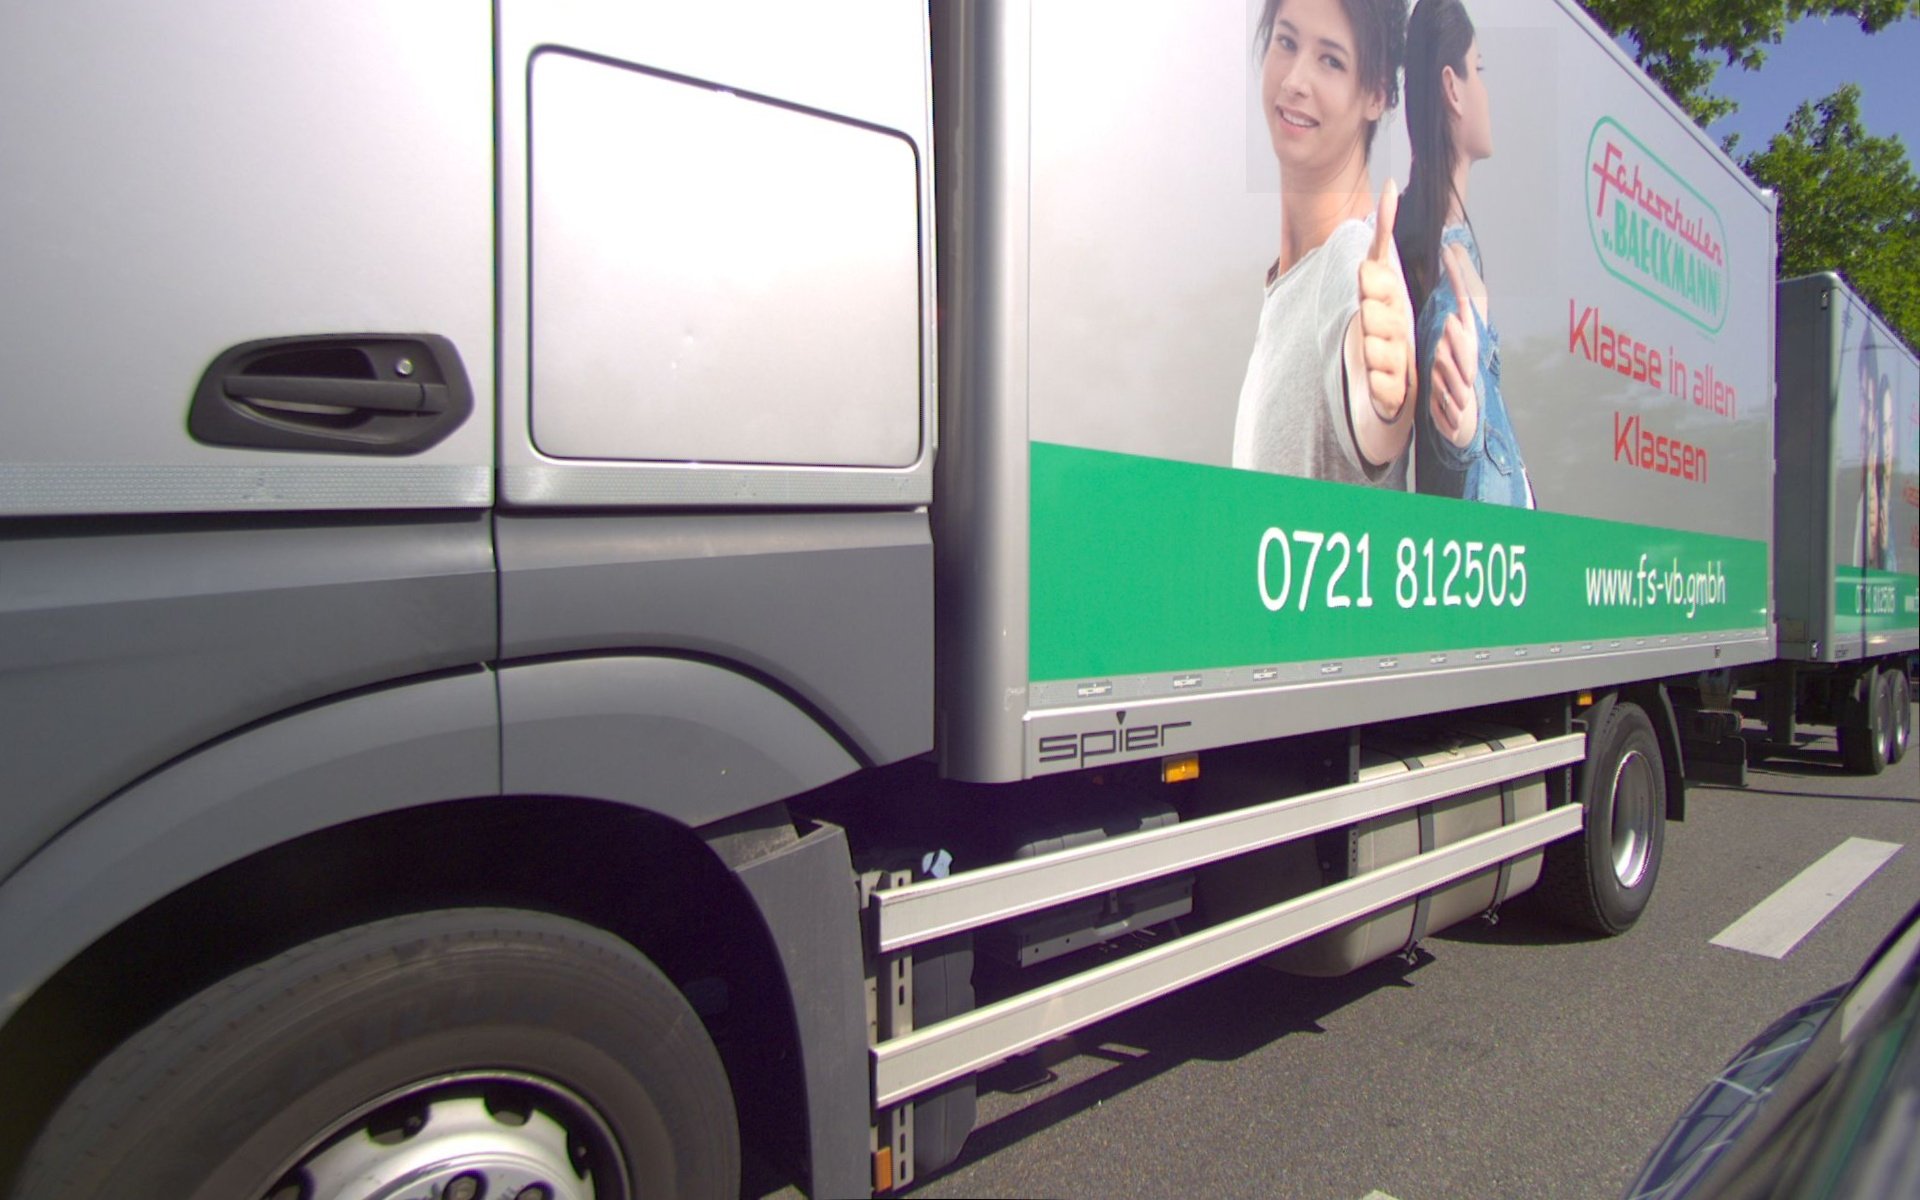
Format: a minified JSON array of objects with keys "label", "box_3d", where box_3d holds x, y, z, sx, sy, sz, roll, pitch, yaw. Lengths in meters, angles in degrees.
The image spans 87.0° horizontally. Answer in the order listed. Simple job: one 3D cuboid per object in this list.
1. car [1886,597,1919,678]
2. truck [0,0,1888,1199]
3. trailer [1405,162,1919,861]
[{"label":"car","box_3d":[19.033,0.688,19.063,4.058,1.437,1.871,0,2,-41]},{"label":"truck","box_3d":[0.947,-0.700,4.075,8.564,3.938,2.737,-1,2,-38]},{"label":"trailer","box_3d":[7.281,-0.565,9.152,7.596,3.925,2.743,-1,2,-39]}]
